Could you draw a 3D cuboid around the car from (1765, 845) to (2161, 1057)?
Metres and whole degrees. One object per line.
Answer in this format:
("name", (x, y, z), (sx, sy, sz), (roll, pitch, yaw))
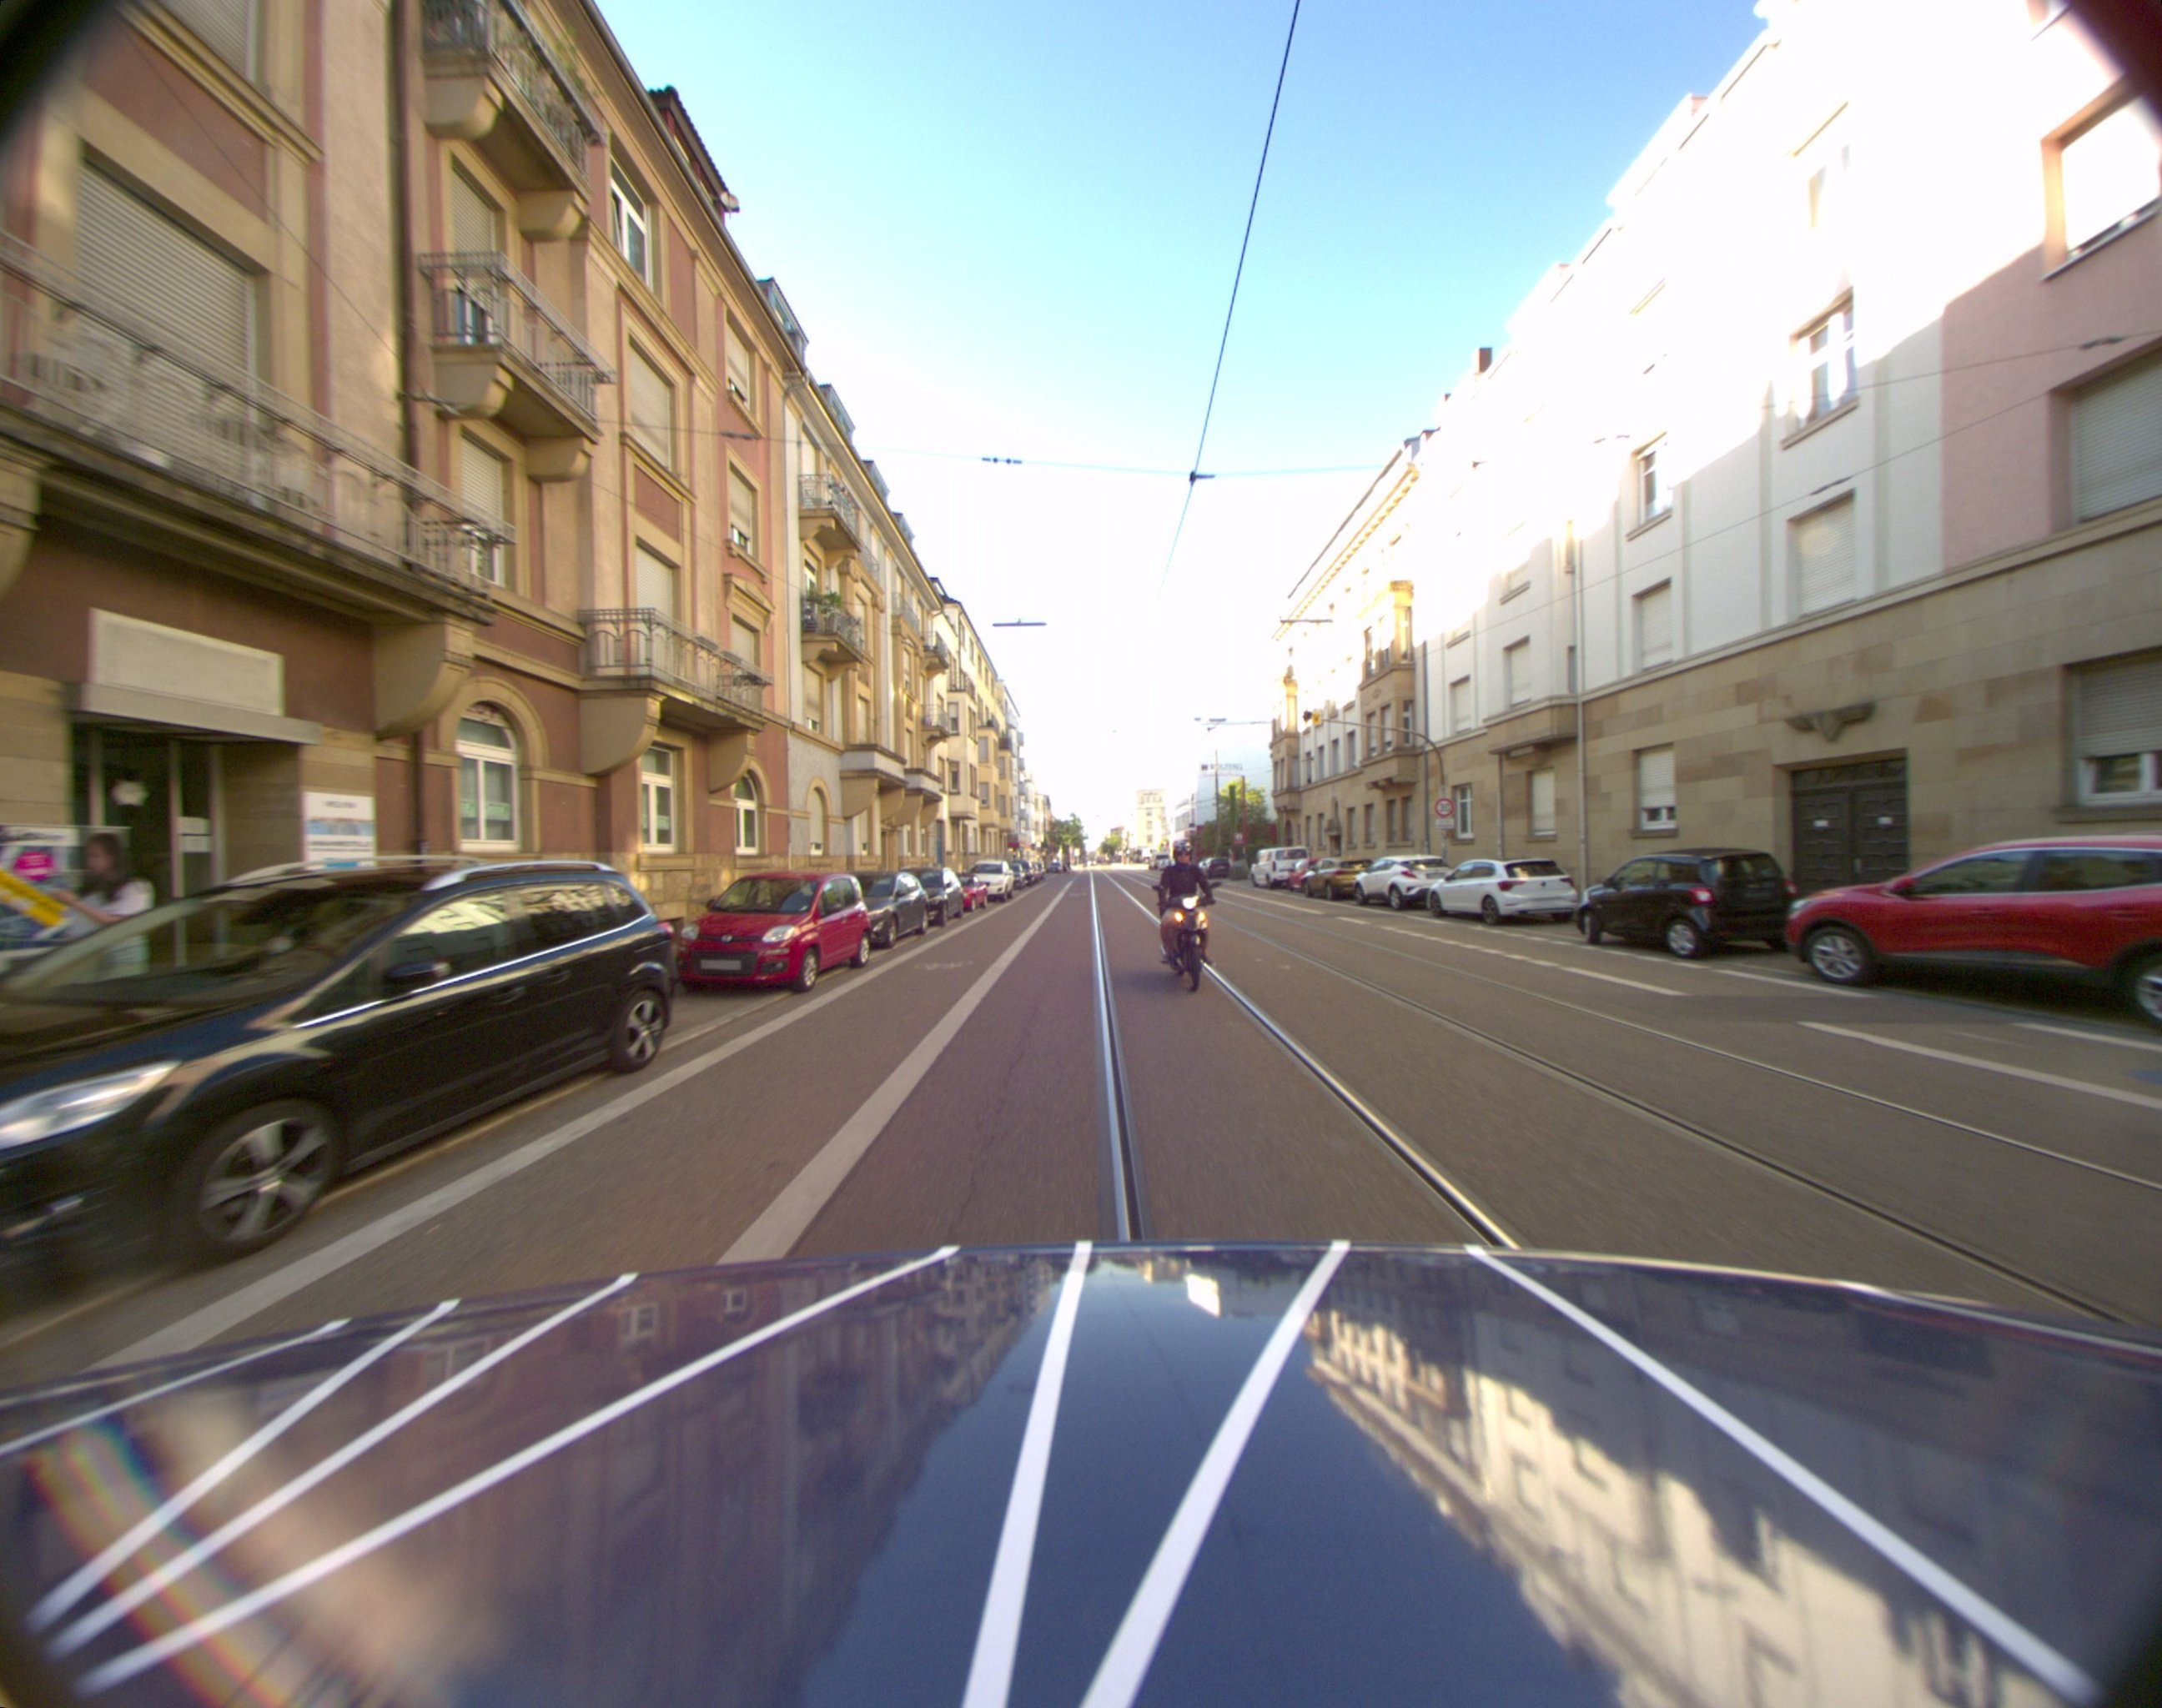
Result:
("car", (9.368, 0.763, 7.159), (1.788, 1.597, 4.397), (-3, 0, -1))

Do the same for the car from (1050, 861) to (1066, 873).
("car", (-2.777, 1.550, 92.253), (1.714, 1.399, 4.359), (1, 0, 2))

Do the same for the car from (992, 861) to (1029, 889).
("car", (-3.945, 1.151, 43.092), (1.742, 1.433, 4.032), (-1, 0, -1))

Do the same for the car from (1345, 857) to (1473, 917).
("car", (9.600, 0.901, 22.651), (1.776, 1.538, 4.365), (-3, 0, -1))

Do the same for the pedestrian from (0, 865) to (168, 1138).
("pedestrian", (-6.454, 0.913, 4.916), (0.514, 1.677, 0.448), (-1, 0, 1))

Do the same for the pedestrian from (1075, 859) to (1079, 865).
("pedestrian", (-0.824, 1.735, 160.151), (0.774, 1.197, 0.610), (-1, 0, -7))

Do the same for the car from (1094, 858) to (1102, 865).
("car", (4.148, 1.771, 185.070), (1.970, 1.577, 4.000), (-2, 0, 1))

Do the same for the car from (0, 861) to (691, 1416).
("car", (-4.348, 0.955, 4.361), (1.757, 1.725, 4.507), (2, 0, 1))

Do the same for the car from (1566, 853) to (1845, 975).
("car", (9.333, 0.809, 11.694), (1.787, 1.543, 3.019), (-3, 0, 1))

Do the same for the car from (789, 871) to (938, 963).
("car", (-4.254, 1.153, 15.625), (1.658, 1.504, 4.474), (-1, 0, 1))

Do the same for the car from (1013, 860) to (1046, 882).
("car", (-3.685, 1.212, 55.353), (1.863, 1.447, 4.710), (-1, 0, 2))

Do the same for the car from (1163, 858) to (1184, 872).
("car", (10.510, 1.225, 86.288), (1.788, 1.472, 4.700), (-3, 0, 0))

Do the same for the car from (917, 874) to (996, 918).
("car", (-4.082, 1.357, 25.678), (1.658, 1.241, 4.506), (-1, 0, 3))

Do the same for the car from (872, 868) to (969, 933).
("car", (-4.202, 1.162, 20.577), (1.658, 1.474, 4.474), (-1, 0, 0))

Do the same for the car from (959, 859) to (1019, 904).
("car", (-3.753, 1.088, 31.790), (1.847, 1.681, 4.505), (-1, 0, 1))

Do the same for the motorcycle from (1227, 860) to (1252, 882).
("motorcycle", (10.362, 1.100, 49.684), (0.884, 1.343, 1.961), (-2, 0, 33))

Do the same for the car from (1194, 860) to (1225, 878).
("car", (10.461, 1.187, 62.007), (1.787, 1.306, 4.221), (-3, 0, 1))

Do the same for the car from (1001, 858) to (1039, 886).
("car", (-3.876, 1.089, 48.711), (1.863, 1.656, 4.562), (-1, 0, 2))

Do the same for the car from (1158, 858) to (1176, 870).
("car", (10.779, 1.232, 95.323), (1.787, 1.390, 4.446), (-3, 0, 2))

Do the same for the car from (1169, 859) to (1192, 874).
("car", (10.480, 1.303, 80.273), (1.787, 1.437, 4.842), (-3, 0, 1))

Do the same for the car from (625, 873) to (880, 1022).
("car", (-4.238, 1.109, 10.515), (1.757, 1.585, 3.730), (-1, 0, 2))

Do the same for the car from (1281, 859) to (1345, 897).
("car", (9.913, 0.975, 32.729), (1.606, 1.464, 3.646), (-3, 0, 1))

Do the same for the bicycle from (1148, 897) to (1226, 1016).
("bicycle", (1.238, 1.170, 9.167), (0.767, 1.191, 1.752), (-1, 0, 3))

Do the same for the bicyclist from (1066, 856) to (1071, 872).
("bicyclist", (-1.334, 1.079, 81.354), (0.509, 1.692, 0.845), (-2, 0, 0))

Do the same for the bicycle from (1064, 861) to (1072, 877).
("bicycle", (-1.351, 1.582, 81.282), (0.775, 1.700, 1.937), (-2, 0, 0))

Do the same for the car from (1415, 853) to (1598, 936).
("car", (9.638, 0.845, 17.656), (1.788, 1.612, 4.179), (-3, 0, -1))

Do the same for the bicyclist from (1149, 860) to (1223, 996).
("bicyclist", (1.231, 0.850, 9.111), (0.774, 1.531, 0.939), (-1, 0, 3))

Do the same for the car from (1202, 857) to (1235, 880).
("car", (10.096, 1.053, 56.137), (1.787, 1.556, 4.611), (-3, 0, 3))

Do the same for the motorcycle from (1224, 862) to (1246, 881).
("motorcycle", (10.464, 1.186, 51.596), (0.740, 1.164, 2.184), (-2, 0, 31))

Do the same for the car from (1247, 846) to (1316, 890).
("car", (9.873, 0.677, 37.928), (1.978, 1.937, 5.252), (-3, 0, 0))

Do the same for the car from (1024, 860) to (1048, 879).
("car", (-3.728, 1.292, 63.538), (1.722, 1.482, 4.002), (0, 0, 1))

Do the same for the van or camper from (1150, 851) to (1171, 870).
("van or camper", (10.677, 0.838, 102.390), (2.177, 2.452, 6.232), (-3, 0, 0))

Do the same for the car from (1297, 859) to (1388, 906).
("car", (9.520, 0.980, 28.041), (1.788, 1.514, 4.360), (-3, 0, 0))
